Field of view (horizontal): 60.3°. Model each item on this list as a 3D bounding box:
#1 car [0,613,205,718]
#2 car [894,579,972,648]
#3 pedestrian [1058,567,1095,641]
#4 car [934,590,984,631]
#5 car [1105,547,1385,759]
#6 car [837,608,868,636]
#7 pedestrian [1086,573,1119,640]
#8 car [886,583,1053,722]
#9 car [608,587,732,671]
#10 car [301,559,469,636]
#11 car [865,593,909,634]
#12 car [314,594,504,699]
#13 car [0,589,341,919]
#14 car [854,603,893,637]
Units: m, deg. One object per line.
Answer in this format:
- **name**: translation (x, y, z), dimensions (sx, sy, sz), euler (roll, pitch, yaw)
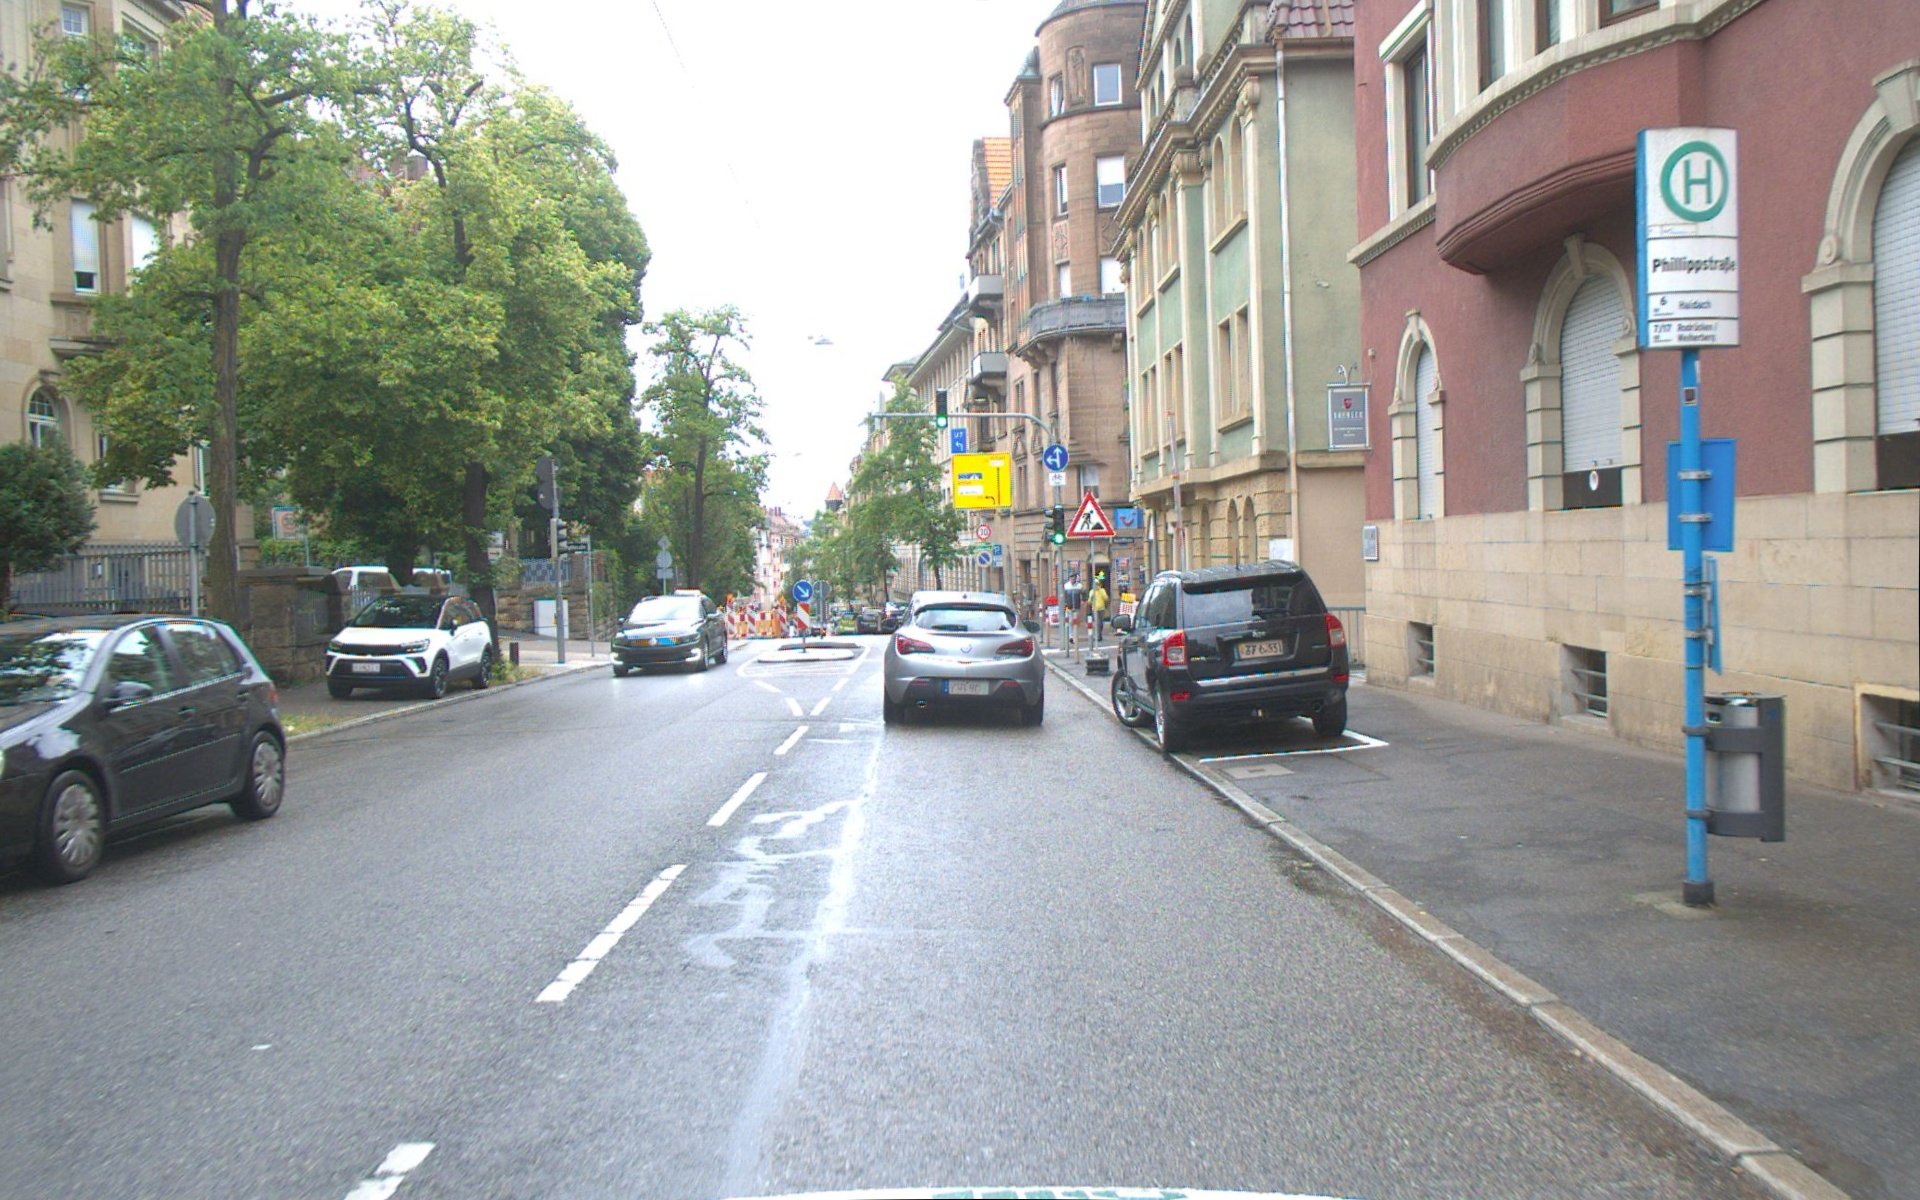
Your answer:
- **car**: translation (-13.278, 0.943, 23.815), dimensions (3.907, 1.350, 1.836), euler (-2, 1, -2)
- **car**: translation (-0.620, 0.326, 39.098), dimensions (1.736, 1.531, 3.868), euler (-1, -1, 0)
- **pedestrian**: translation (2.944, 0.108, 41.719), dimensions (0.703, 1.805, 0.666), euler (-3, 1, 18)
- **car**: translation (-0.068, 0.476, 71.499), dimensions (1.626, 1.570, 3.659), euler (-4, -1, -8)
- **car**: translation (2.639, 0.477, 16.470), dimensions (1.839, 1.658, 4.696), euler (-5, -1, 0)
- **car**: translation (-6.856, 1.406, 104.999), dimensions (1.626, 1.570, 3.659), euler (-4, -1, -8)
- **pedestrian**: translation (3.582, 0.162, 41.508), dimensions (0.584, 1.612, 0.666), euler (-3, 1, 17)
- **car**: translation (0.108, 0.584, 19.644), dimensions (1.774, 1.475, 3.869), euler (-1, -1, 0)
- **car**: translation (-5.713, 0.546, 33.058), dimensions (1.779, 1.544, 4.546), euler (-1, 0, -2)
- **car**: translation (-18.238, -0.116, 52.514), dimensions (4.564, 2.083, 2.027), euler (4, 2, 14)
- **car**: translation (-3.072, 0.601, 69.258), dimensions (1.624, 1.570, 3.661), euler (-4, -1, -5)
- **car**: translation (-8.940, 0.738, 27.220), dimensions (1.706, 1.586, 4.301), euler (0, -1, 0)
- **car**: translation (-5.701, 0.793, 10.569), dimensions (1.736, 1.543, 4.591), euler (-2, 2, -1)
- **car**: translation (-4.445, 1.027, 84.474), dimensions (1.626, 1.570, 3.659), euler (-4, -1, -8)
